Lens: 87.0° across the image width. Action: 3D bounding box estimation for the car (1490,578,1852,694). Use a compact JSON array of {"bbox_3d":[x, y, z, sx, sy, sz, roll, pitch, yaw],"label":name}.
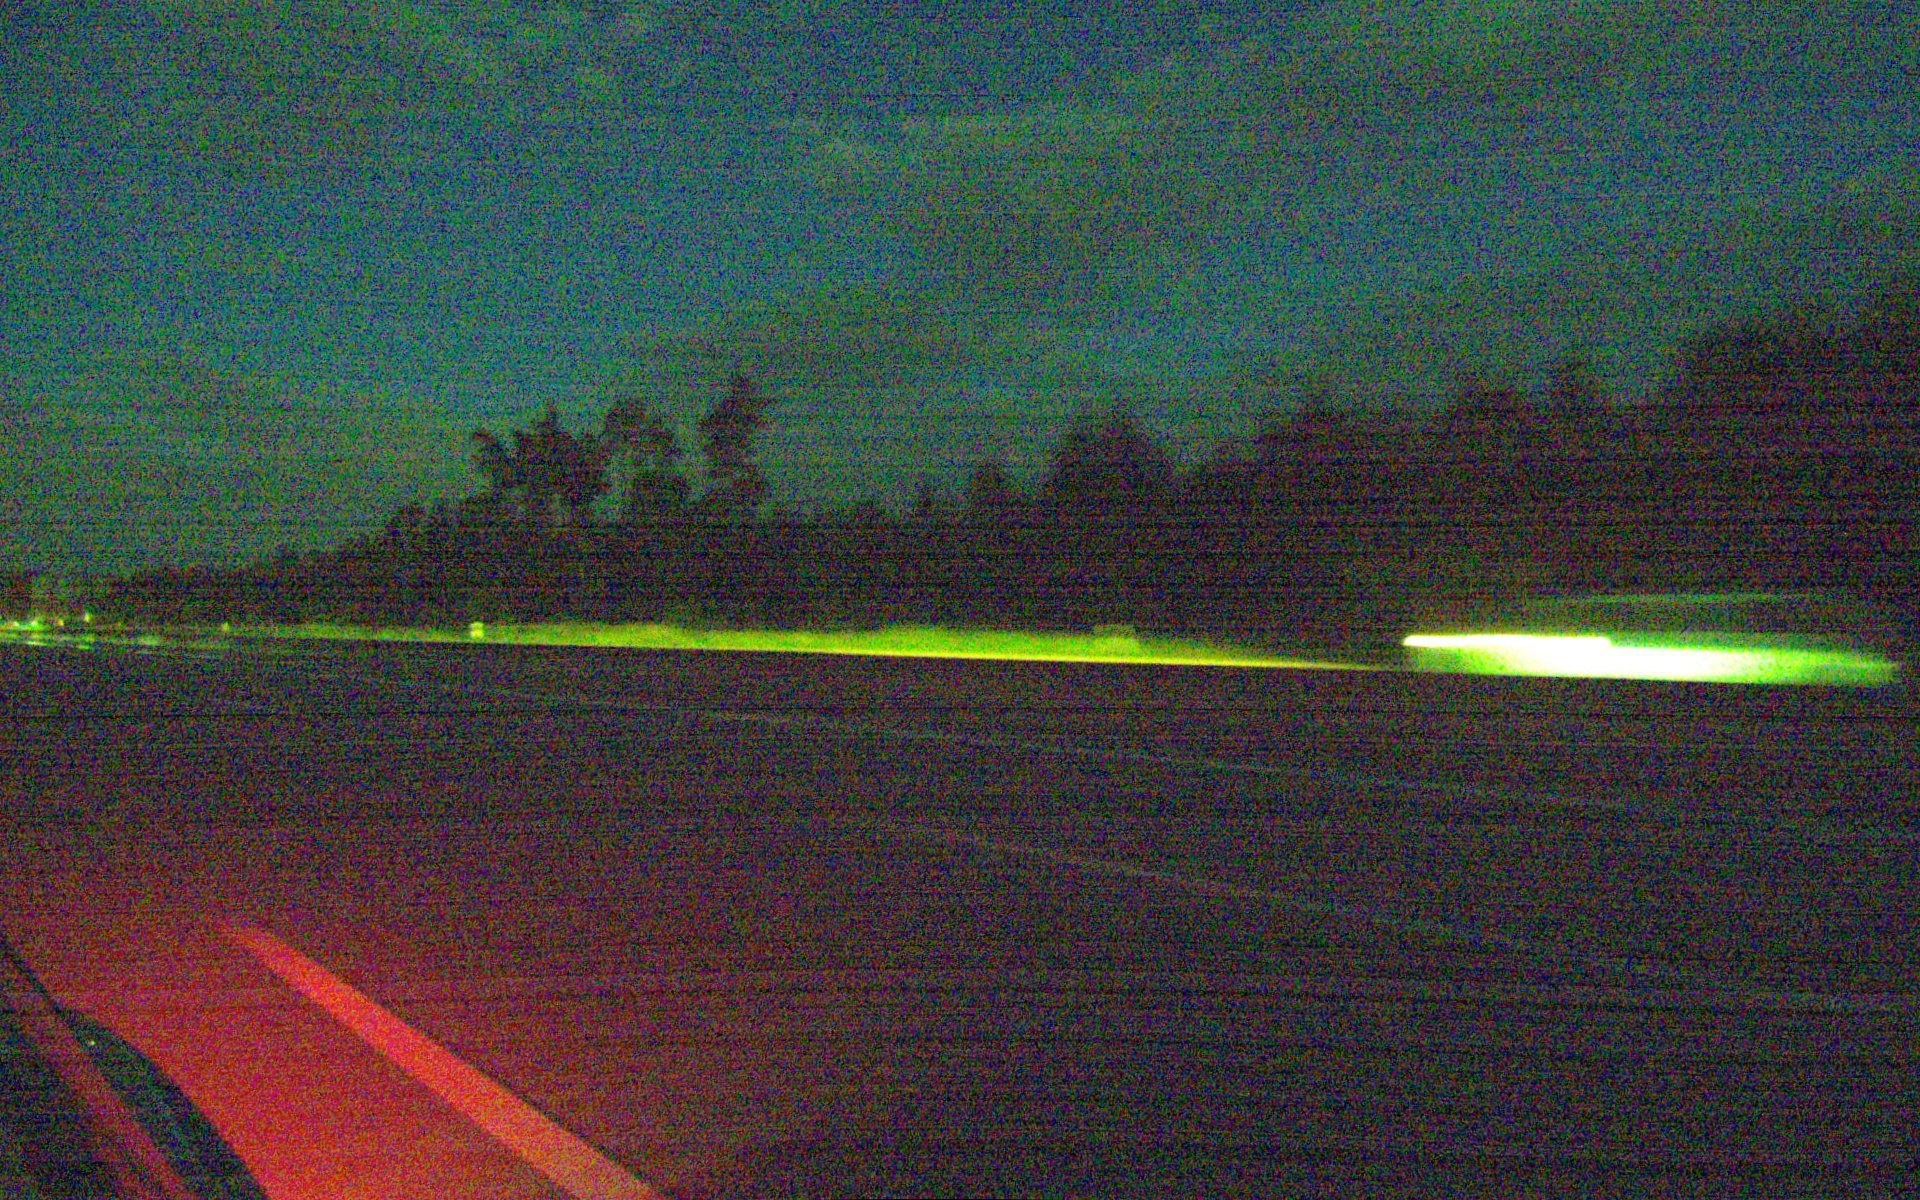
[{"bbox_3d":[12.498,0.576,18.065,5.087,1.791,1.973,-1,0,41],"label":"car"}]
